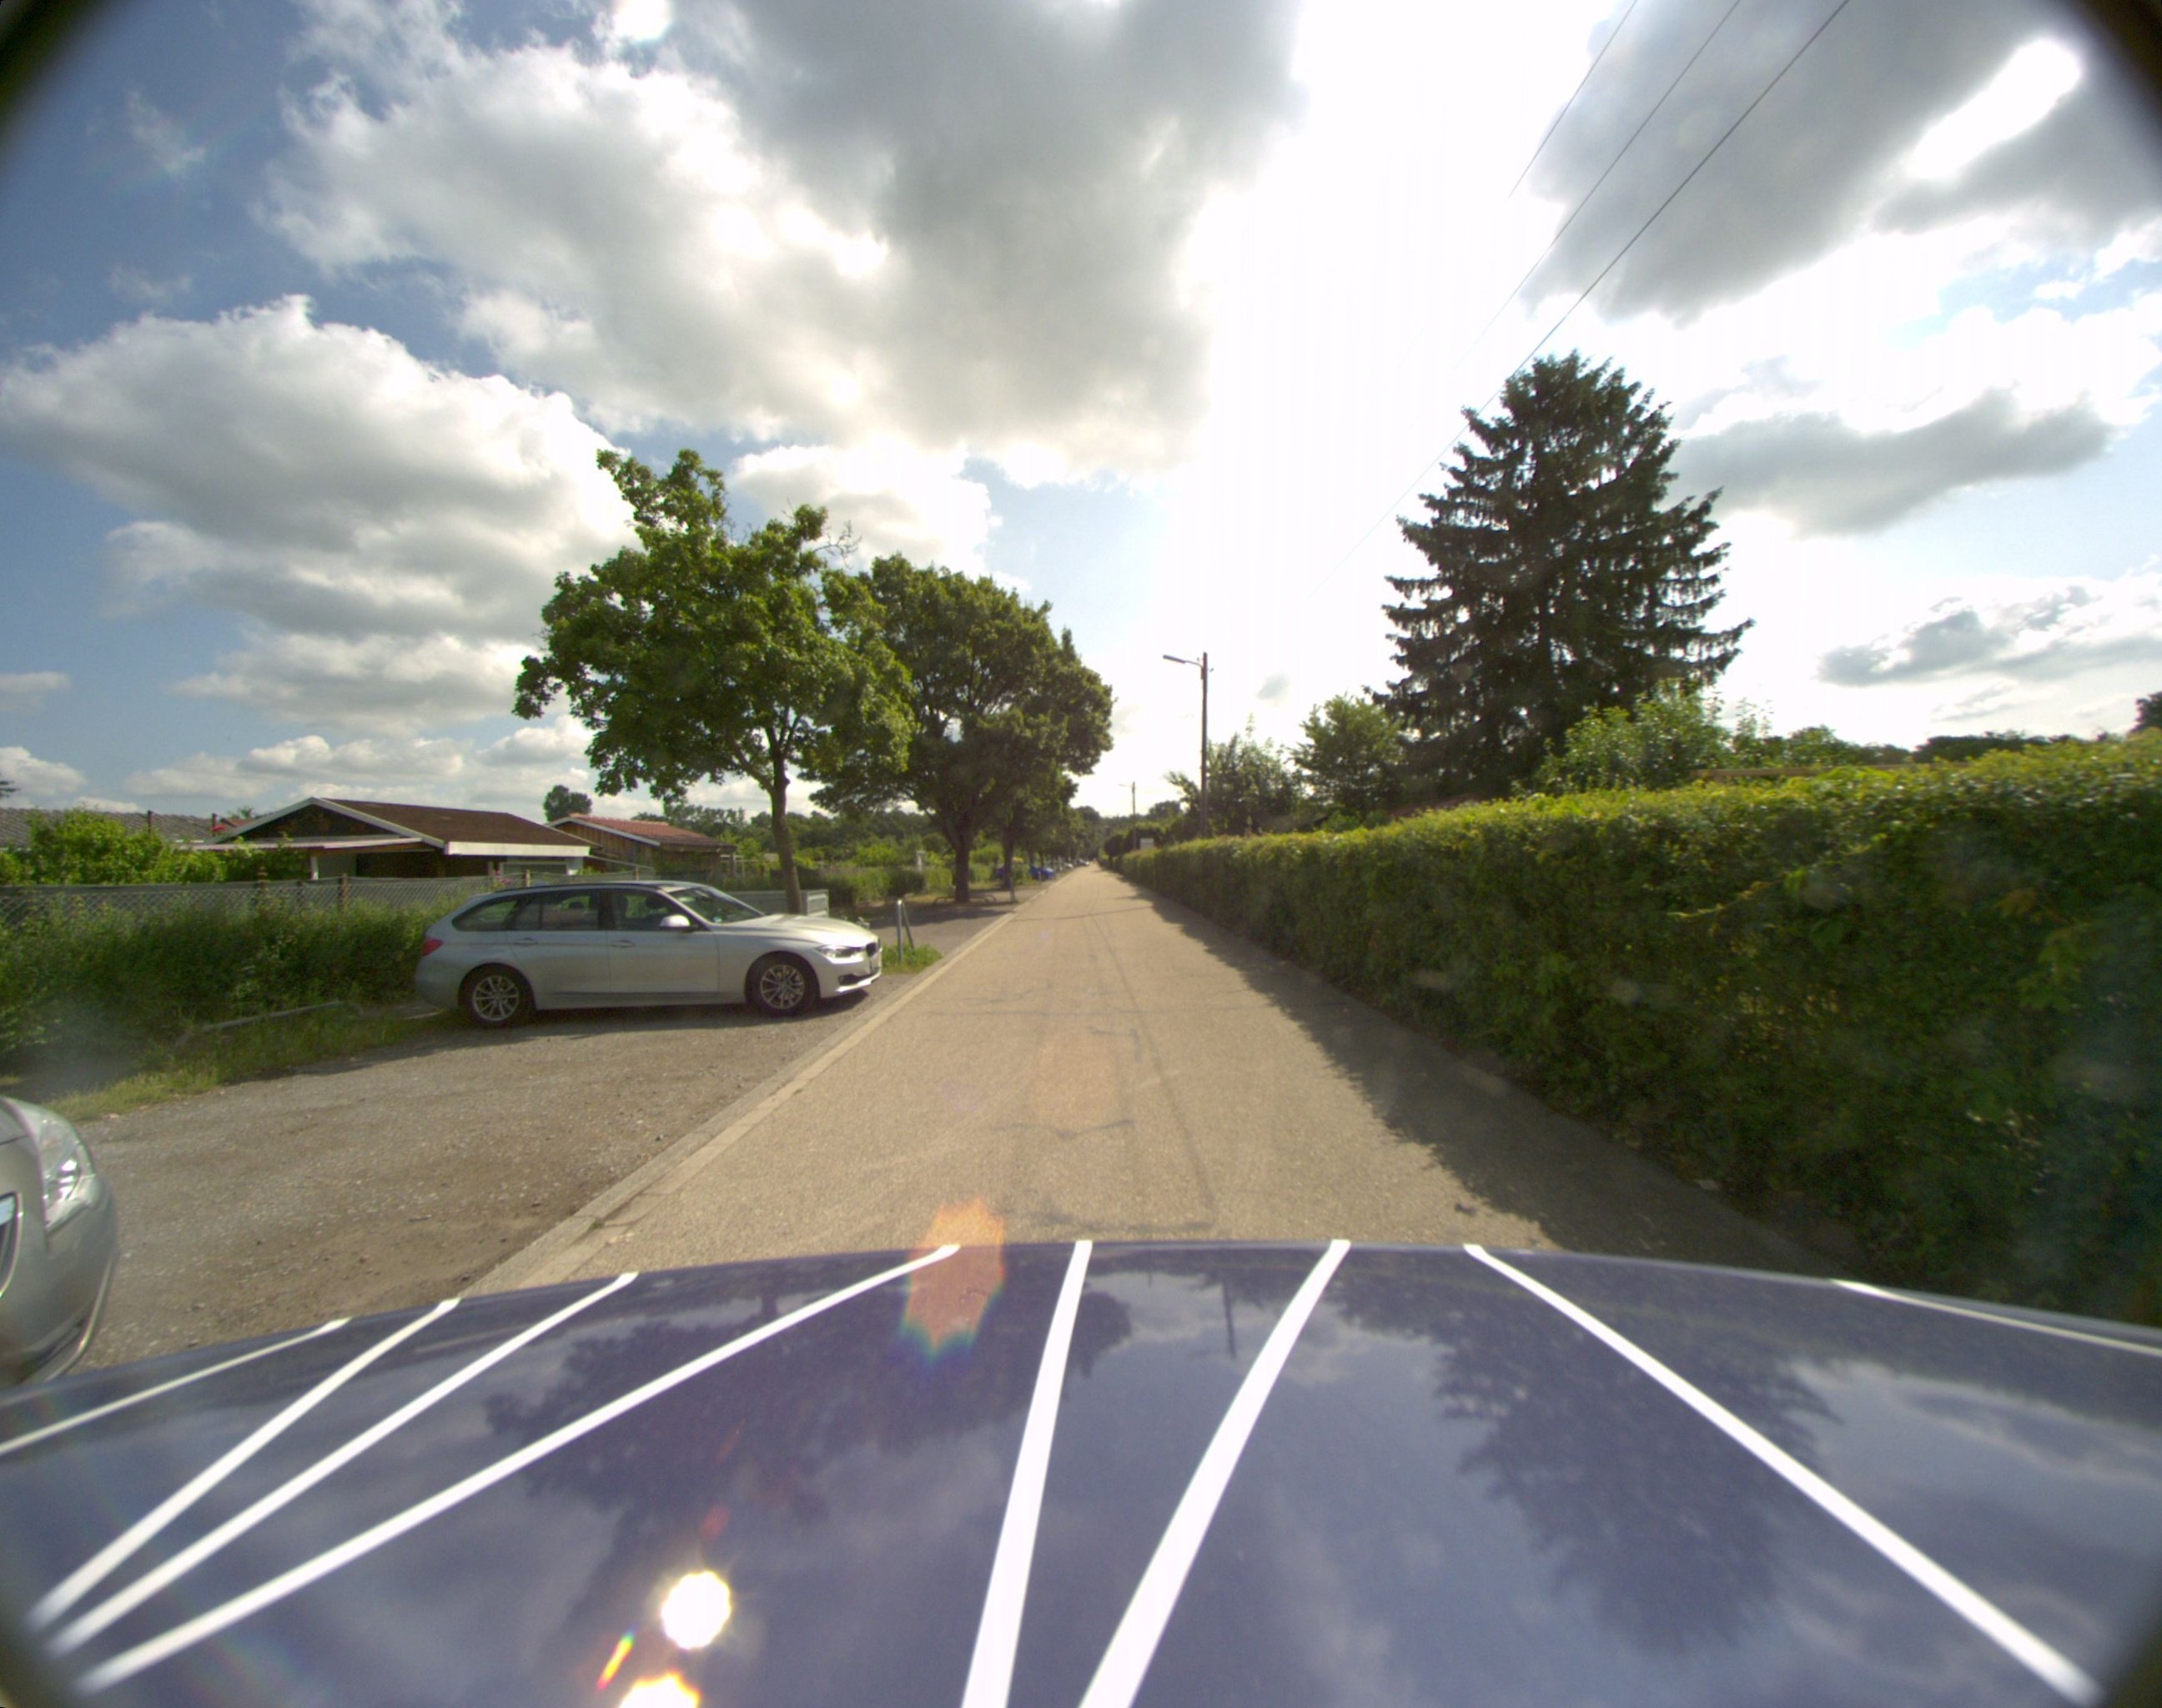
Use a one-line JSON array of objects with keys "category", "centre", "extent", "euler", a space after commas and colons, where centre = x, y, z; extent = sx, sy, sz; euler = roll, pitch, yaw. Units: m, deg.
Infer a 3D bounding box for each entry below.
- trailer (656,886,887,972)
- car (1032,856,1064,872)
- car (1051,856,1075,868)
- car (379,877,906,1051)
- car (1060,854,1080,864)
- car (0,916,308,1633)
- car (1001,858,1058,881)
[{"category": "trailer", "centre": [-5.210, 1.245, 13.148], "extent": [3.108, 1.136, 2.000], "euler": [-3, 0, 1]}, {"category": "car", "centre": [-4.183, 1.239, 97.141], "extent": [3.929, 1.740, 2.000], "euler": [-3, 1, 0]}, {"category": "car", "centre": [-2.943, 1.326, 125.744], "extent": [3.929, 1.740, 2.000], "euler": [-3, 1, 0]}, {"category": "car", "centre": [-4.469, 1.094, 8.399], "extent": [4.590, 1.457, 2.000], "euler": [-2, 0, -2]}, {"category": "car", "centre": [-2.217, 1.043, 154.038], "extent": [3.998, 1.824, 1.999], "euler": [-3, 1, -3]}, {"category": "car", "centre": [-4.609, 1.009, 1.443], "extent": [4.254, 1.583, 2.000], "euler": [-1, 0, 1]}, {"category": "car", "centre": [-3.839, 1.146, 57.124], "extent": [4.116, 1.573, 1.781], "euler": [-2, 0, -1]}]
